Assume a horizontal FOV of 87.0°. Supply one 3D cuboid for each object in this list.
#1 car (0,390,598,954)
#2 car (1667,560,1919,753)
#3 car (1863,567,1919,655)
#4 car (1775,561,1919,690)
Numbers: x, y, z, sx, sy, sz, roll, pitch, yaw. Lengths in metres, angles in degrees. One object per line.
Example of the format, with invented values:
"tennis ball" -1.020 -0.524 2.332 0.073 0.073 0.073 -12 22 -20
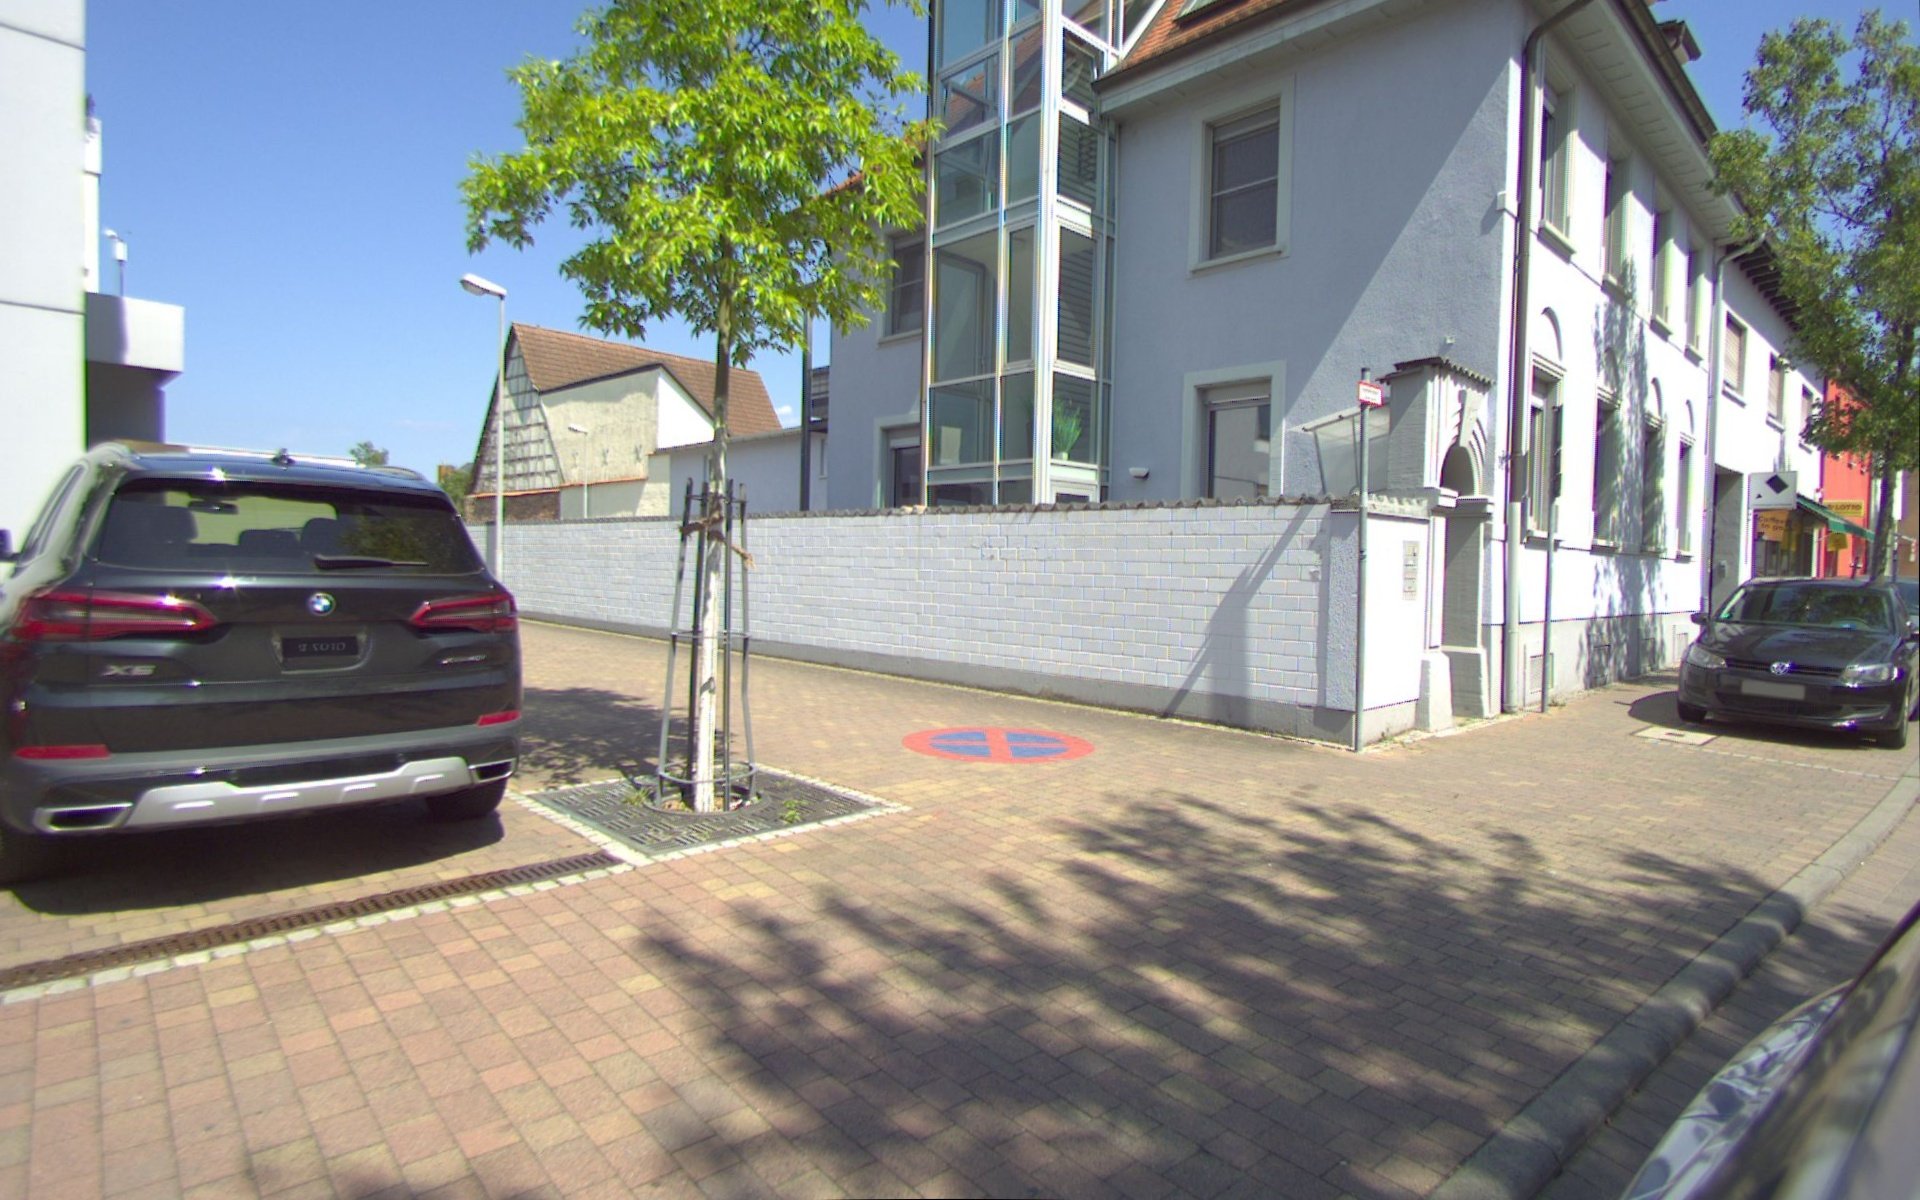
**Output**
"car" -4.000 0.069 5.488 2.112 1.792 4.637 0 4 -44
"car" 8.614 0.403 10.118 3.856 1.499 1.706 -1 5 -43
"car" 18.336 0.194 18.934 3.672 1.532 1.740 0 3 -43
"car" 12.697 0.262 13.810 4.024 1.499 1.721 -1 4 -41
